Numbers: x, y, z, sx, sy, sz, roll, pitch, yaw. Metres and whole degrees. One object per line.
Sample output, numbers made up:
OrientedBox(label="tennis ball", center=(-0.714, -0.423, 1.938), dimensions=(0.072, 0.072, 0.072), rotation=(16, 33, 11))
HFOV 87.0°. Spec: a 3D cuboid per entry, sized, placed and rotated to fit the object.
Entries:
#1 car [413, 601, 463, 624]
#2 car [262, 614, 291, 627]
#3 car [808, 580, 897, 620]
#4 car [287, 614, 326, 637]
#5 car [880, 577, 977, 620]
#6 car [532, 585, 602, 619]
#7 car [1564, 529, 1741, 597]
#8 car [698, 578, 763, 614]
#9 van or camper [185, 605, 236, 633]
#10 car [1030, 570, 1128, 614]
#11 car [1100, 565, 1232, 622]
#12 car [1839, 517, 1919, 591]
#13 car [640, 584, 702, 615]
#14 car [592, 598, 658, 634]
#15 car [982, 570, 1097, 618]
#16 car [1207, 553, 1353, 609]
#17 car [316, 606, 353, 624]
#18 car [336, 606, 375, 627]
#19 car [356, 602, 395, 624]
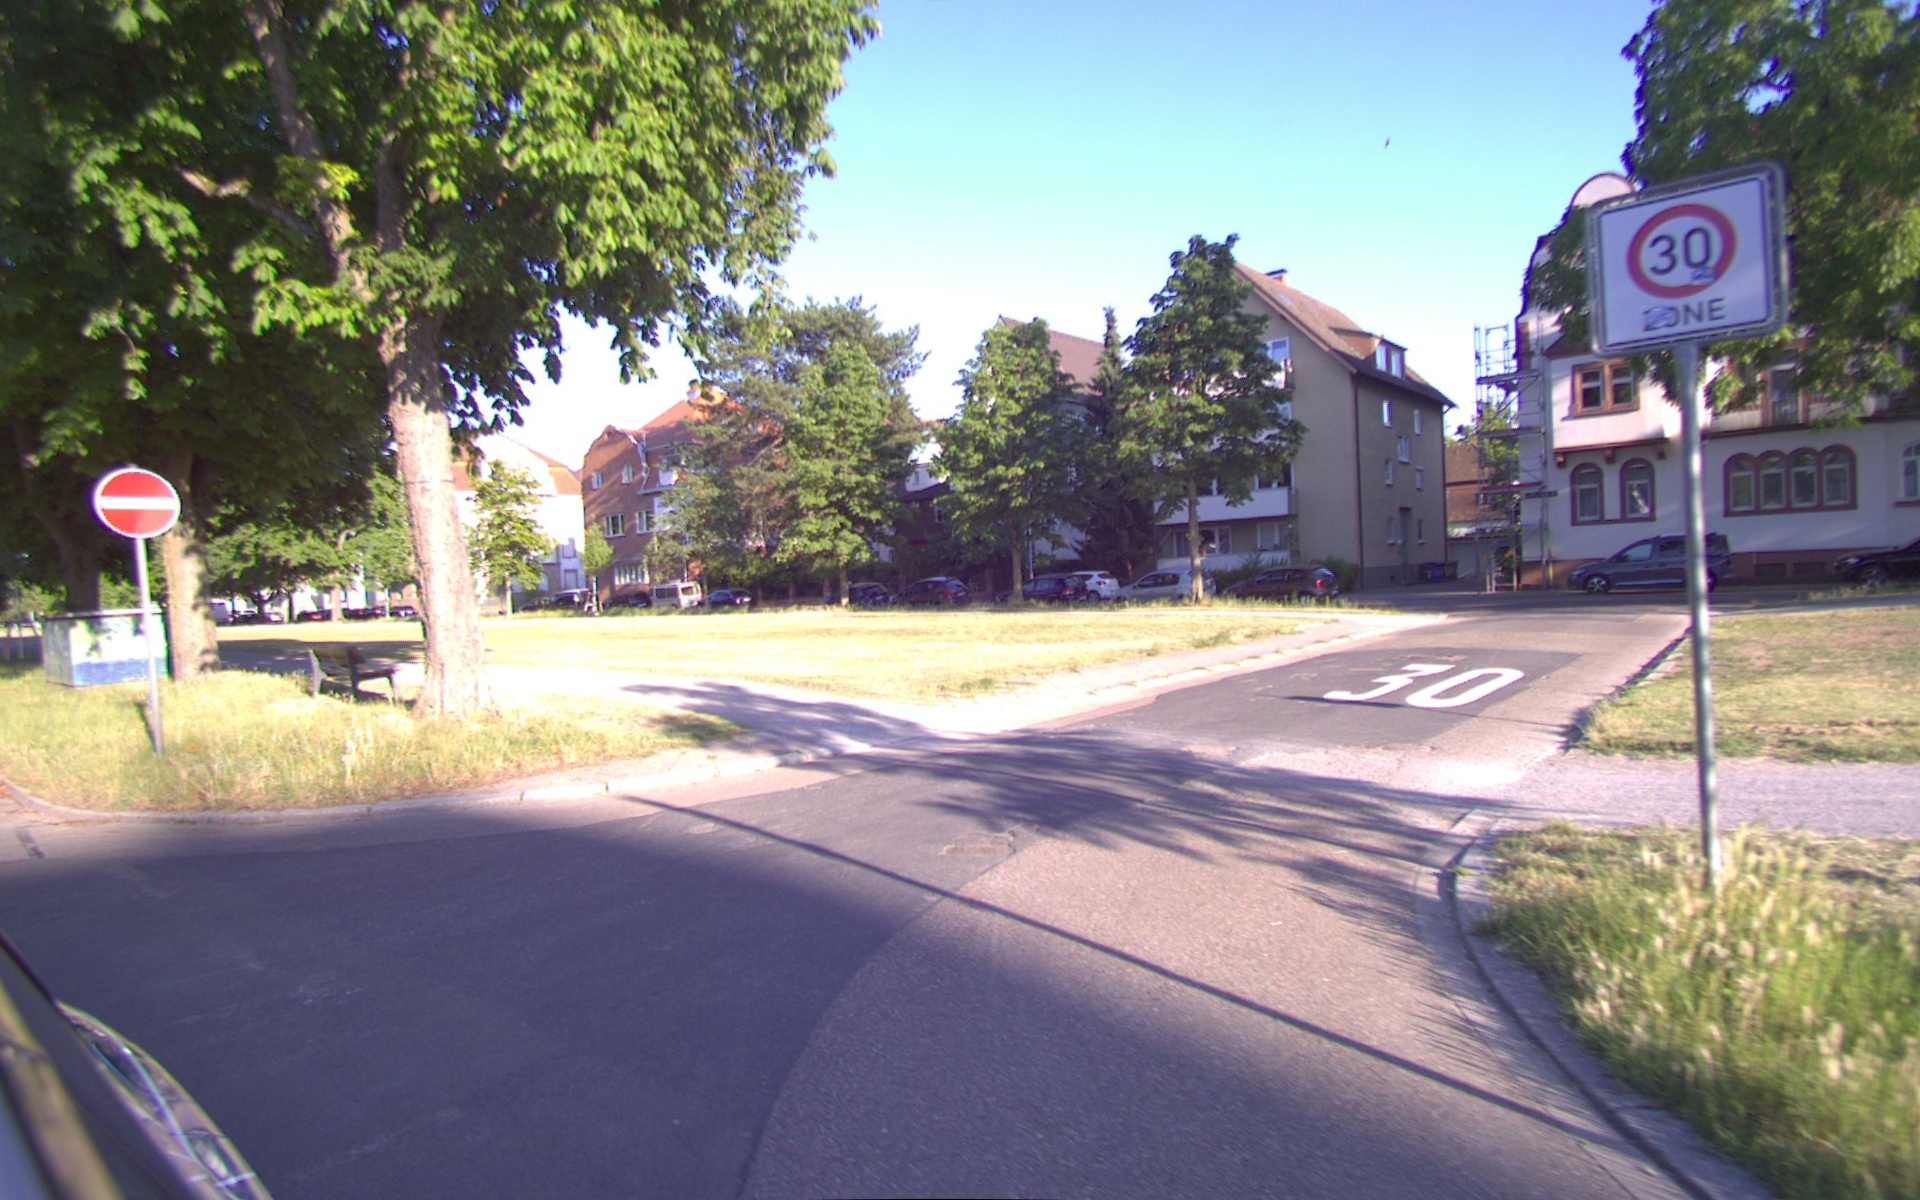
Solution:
OrientedBox(label="car", center=(-40.576, 0.981, 78.583), dimensions=(4.647, 1.651, 1.801), rotation=(-2, 1, 41))
OrientedBox(label="car", center=(-84.860, 2.581, 125.670), dimensions=(3.997, 1.475, 1.974), rotation=(-2, 1, 40))
OrientedBox(label="car", center=(-5.141, 0.024, 48.092), dimensions=(4.000, 1.696, 1.972), rotation=(-1, 3, 43))
OrientedBox(label="car", center=(-64.000, 2.491, 99.109), dimensions=(4.875, 2.028, 1.972), rotation=(-2, 2, 42))
OrientedBox(label="car", center=(-1.406, -0.057, 44.522), dimensions=(4.000, 1.696, 1.972), rotation=(-1, 3, 43))
OrientedBox(label="car", center=(-25.547, 0.165, 65.723), dimensions=(5.244, 1.955, 1.973), rotation=(-3, 1, 42))
OrientedBox(label="car", center=(22.011, -1.154, 32.244), dimensions=(4.489, 1.890, 1.975), rotation=(-2, 2, 38))
OrientedBox(label="car", center=(-14.501, -0.246, 63.795), dimensions=(3.999, 2.028, 1.972), rotation=(-2, 1, 42))
OrientedBox(label="van or camper", center=(-90.918, 2.315, 122.664), dimensions=(7.893, 3.133, 3.221), rotation=(-2, 2, 41))
OrientedBox(label="car", center=(5.422, -0.360, 46.307), dimensions=(3.995, 1.796, 1.975), rotation=(-2, 3, 39))
OrientedBox(label="car", center=(7.502, -0.214, 37.047), dimensions=(4.254, 1.874, 1.973), rotation=(-1, 3, 42))
OrientedBox(label="car", center=(27.401, -1.356, 27.842), dimensions=(4.746, 1.967, 1.974), rotation=(-2, 2, 40))
OrientedBox(label="car", center=(-19.435, -0.009, 67.923), dimensions=(4.406, 1.851, 1.798), rotation=(-2, 1, 41))
OrientedBox(label="car", center=(-20.359, 0.976, 61.489), dimensions=(3.998, 2.028, 1.973), rotation=(-2, 2, 41))
OrientedBox(label="car", center=(3.157, -0.212, 40.626), dimensions=(4.254, 1.733, 1.973), rotation=(-1, 3, 42))
OrientedBox(label="car", center=(10.819, -0.620, 34.356), dimensions=(4.254, 1.661, 1.973), rotation=(-1, 3, 42))
OrientedBox(label="car", center=(-67.844, 1.625, 109.756), dimensions=(4.425, 1.664, 1.974), rotation=(-2, 2, 39))
OrientedBox(label="car", center=(-63.331, 1.721, 105.978), dimensions=(4.424, 2.028, 1.974), rotation=(-2, 2, 39))
OrientedBox(label="car", center=(-59.175, 1.364, 102.394), dimensions=(4.875, 2.028, 1.972), rotation=(-2, 2, 42))
